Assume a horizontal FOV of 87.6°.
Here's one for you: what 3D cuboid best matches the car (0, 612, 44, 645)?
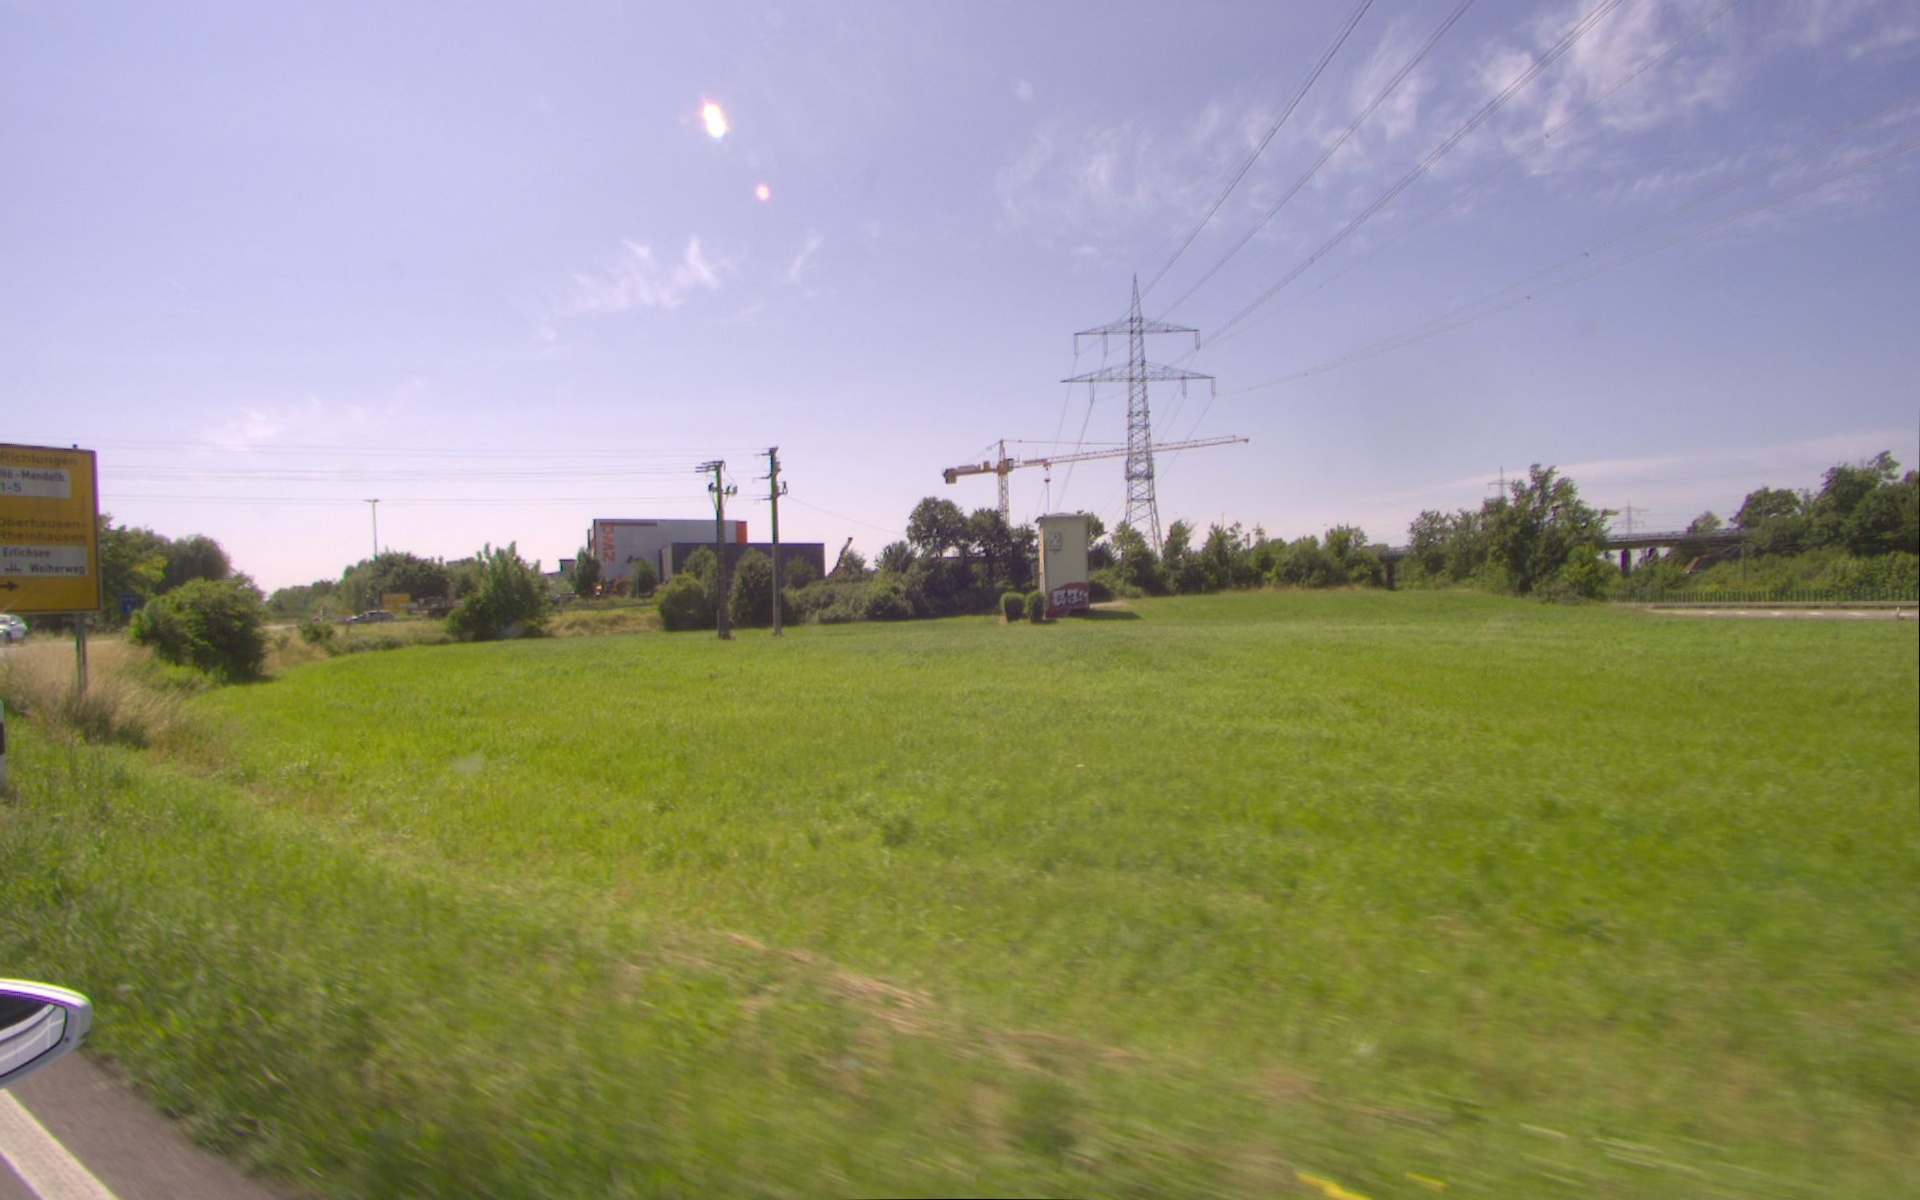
[{"bbox_3d":[-49.251,1.418,51.451,1.832,1.622,4.759,2,-2,-25],"label":"car"}]

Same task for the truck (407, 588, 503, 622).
[{"bbox_3d":[-51.523,0.577,102.468,3.059,3.176,8.775,-2,-2,26],"label":"truck"}]

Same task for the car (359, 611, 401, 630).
[{"bbox_3d":[-64.482,2.267,111.357,3.941,2.039,1.992,0,-2,-28],"label":"car"}]
